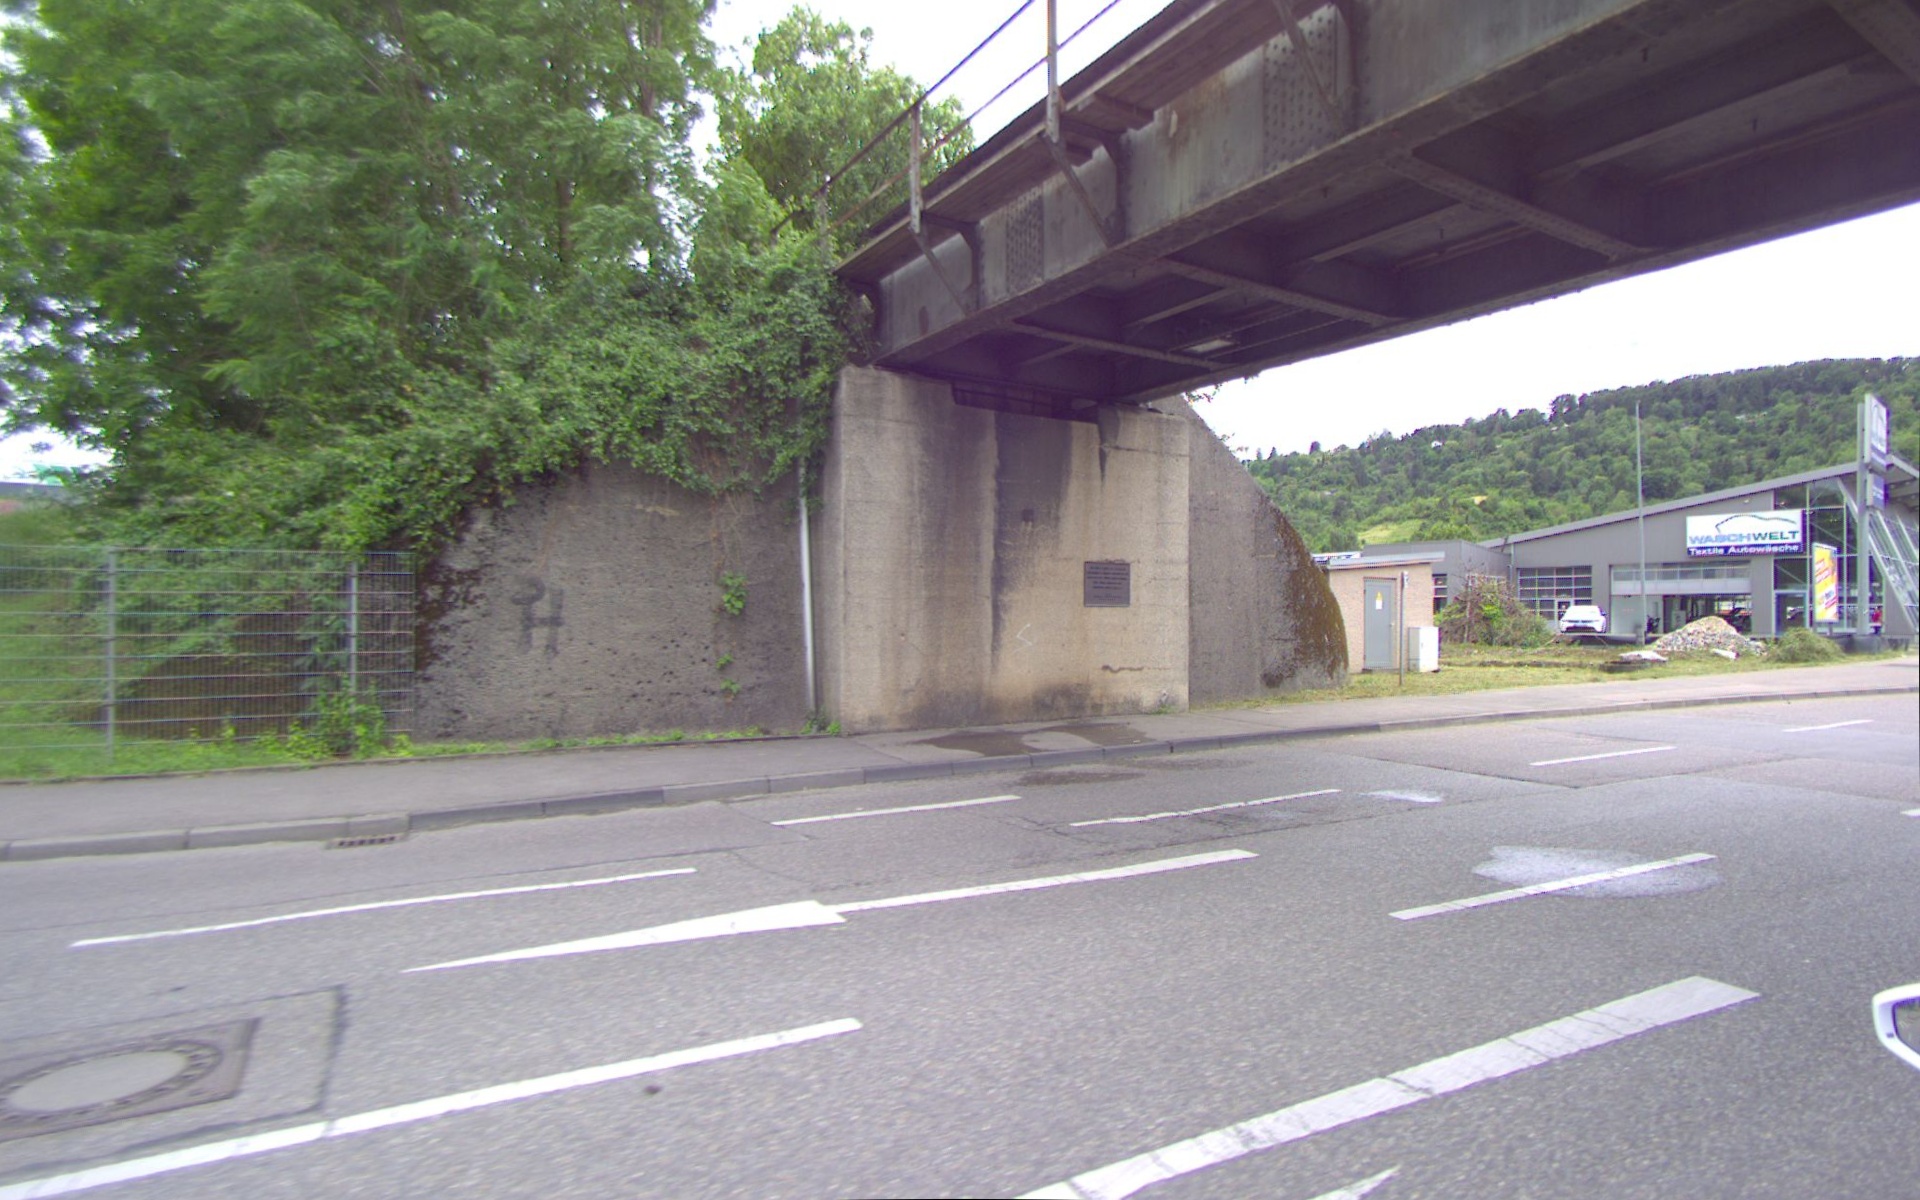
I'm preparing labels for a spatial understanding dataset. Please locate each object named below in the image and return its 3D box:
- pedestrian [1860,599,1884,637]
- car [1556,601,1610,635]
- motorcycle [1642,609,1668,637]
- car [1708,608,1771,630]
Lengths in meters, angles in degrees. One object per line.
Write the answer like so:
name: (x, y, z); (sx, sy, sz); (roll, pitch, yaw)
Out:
pedestrian: (45.670, 0.891, 50.317); (0.815, 1.893, 0.715); (-1, -1, 39)
car: (30.146, 0.849, 48.588); (1.967, 1.556, 3.987); (0, -1, 35)
motorcycle: (44.566, 1.473, 64.408); (2.346, 1.732, 0.832); (1, -1, -42)
car: (62.797, 1.530, 80.938); (3.940, 1.751, 1.991); (0, -1, 40)
